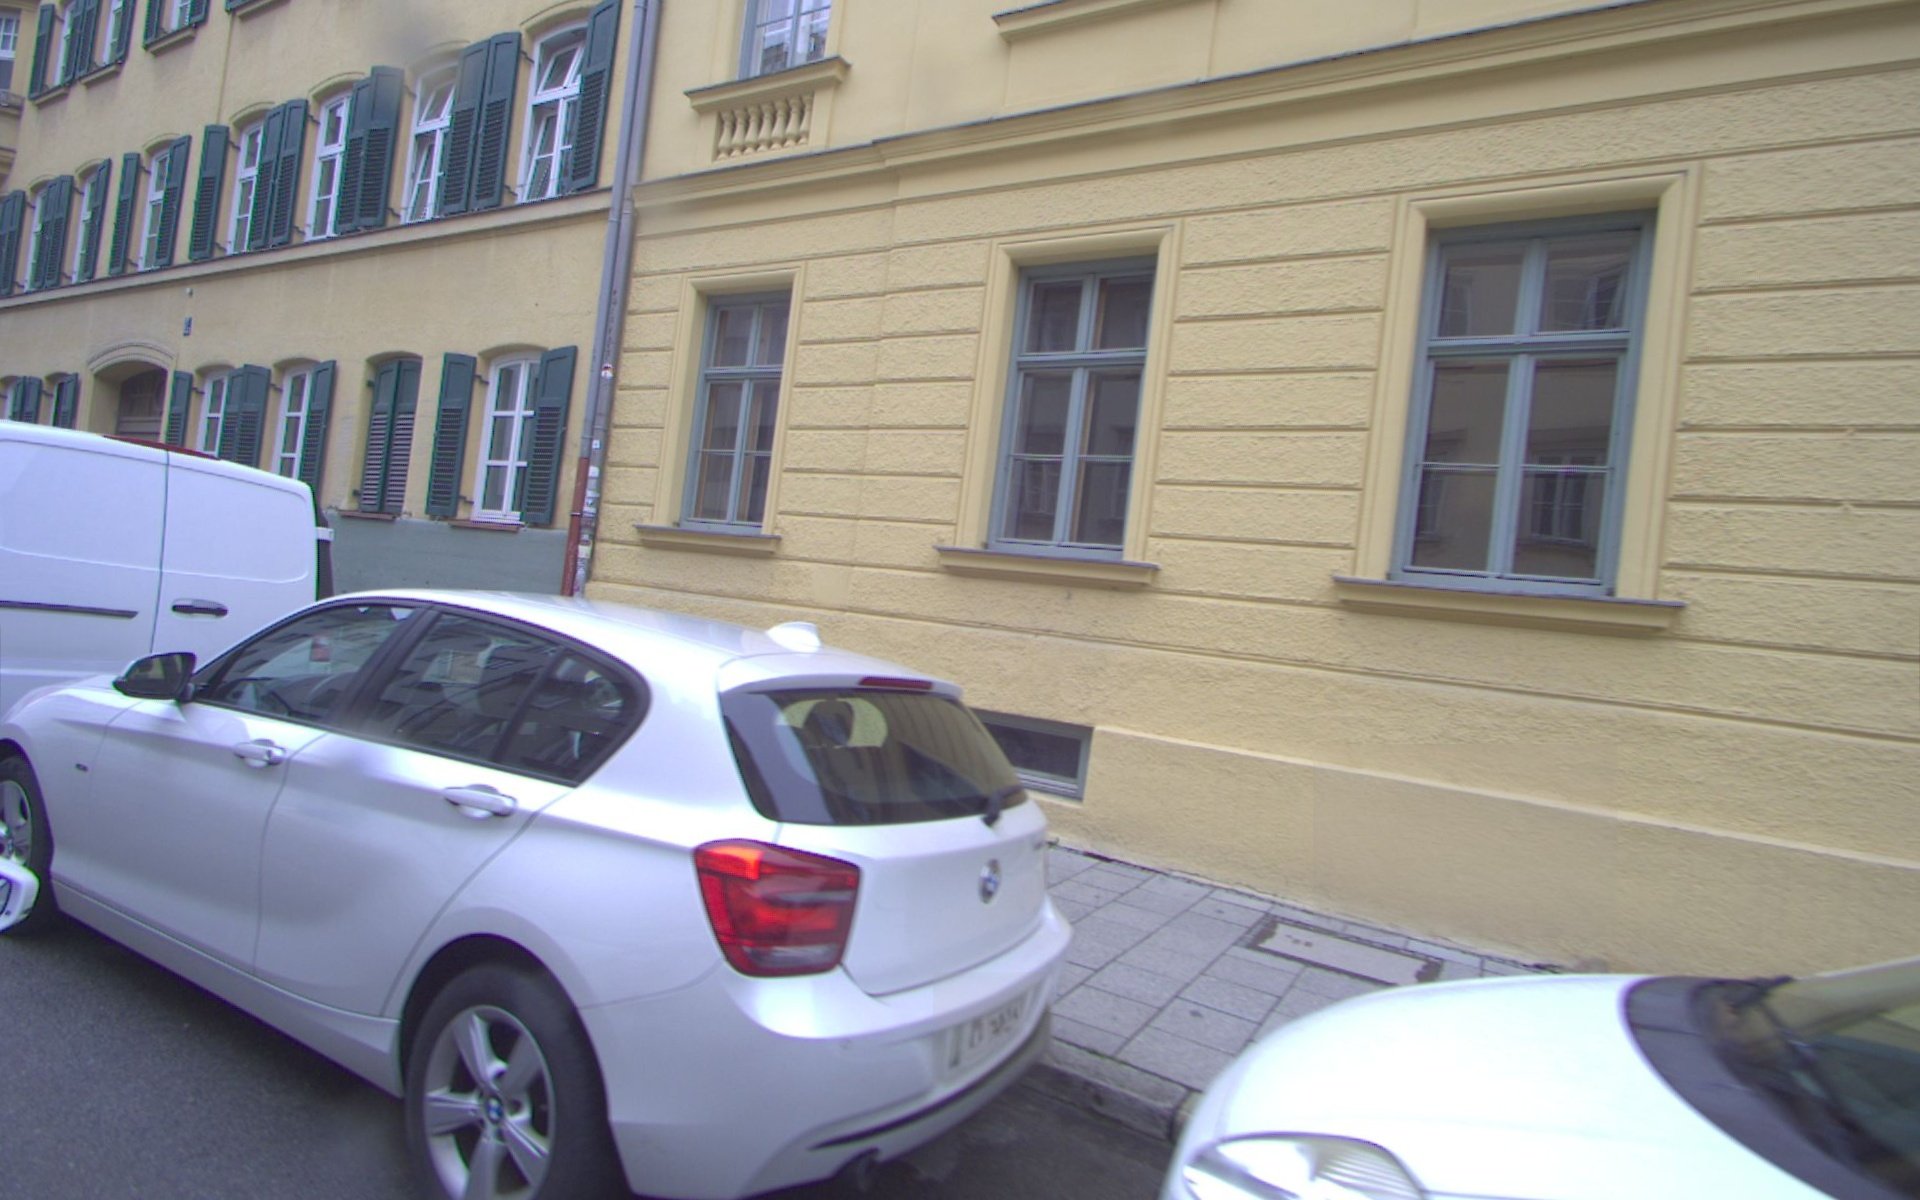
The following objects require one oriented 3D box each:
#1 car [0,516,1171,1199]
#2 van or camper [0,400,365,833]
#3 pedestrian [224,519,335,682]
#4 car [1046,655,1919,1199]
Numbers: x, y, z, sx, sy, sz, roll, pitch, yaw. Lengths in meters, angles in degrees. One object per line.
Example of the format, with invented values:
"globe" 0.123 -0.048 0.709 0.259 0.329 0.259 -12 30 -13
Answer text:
"car" -1.598 0.661 3.514 4.134 1.408 1.713 6 -2 29
"van or camper" -6.053 -0.097 6.171 4.994 1.893 1.837 7 -2 31
"pedestrian" -6.991 0.010 10.349 0.631 1.592 0.661 5 1 31
"car" 2.268 1.091 1.161 4.026 1.471 1.713 6 -2 29
